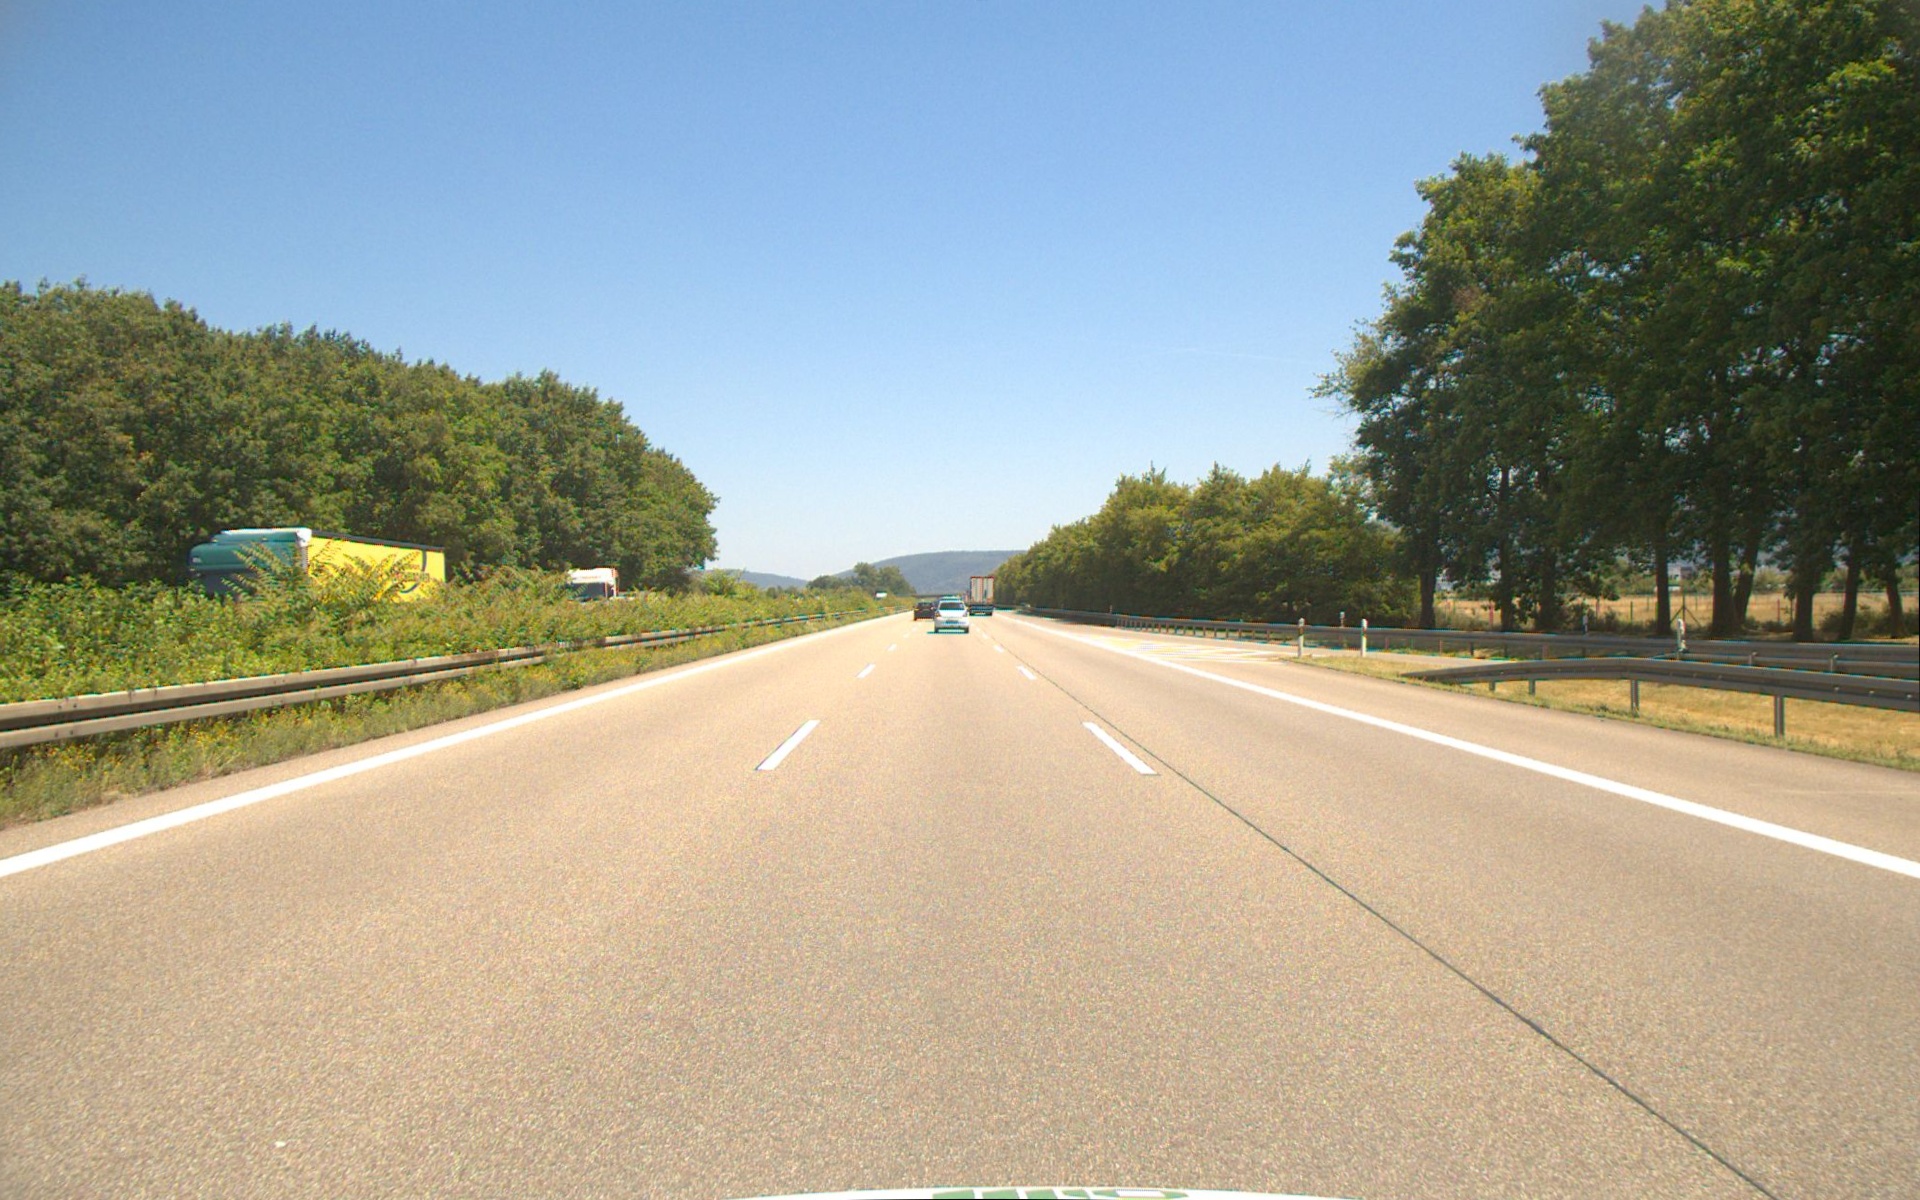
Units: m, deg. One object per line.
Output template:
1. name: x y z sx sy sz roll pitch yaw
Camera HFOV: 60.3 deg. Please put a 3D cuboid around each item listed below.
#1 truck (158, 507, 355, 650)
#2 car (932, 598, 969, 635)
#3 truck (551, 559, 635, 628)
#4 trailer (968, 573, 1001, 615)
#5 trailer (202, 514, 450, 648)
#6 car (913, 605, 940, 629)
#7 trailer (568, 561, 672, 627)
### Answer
1. truck: -20.658 -0.587 49.009 3.133 3.892 6.393 1 0 -1
2. car: -0.477 0.756 79.246 1.697 1.713 3.999 -1 0 -1
3. truck: -20.469 -0.331 92.738 3.132 3.642 6.995 1 0 0
4. trailer: 2.730 -0.568 182.514 3.151 4.421 13.633 1 0 3
5. trailer: -20.790 -0.543 55.617 3.133 3.892 14.019 1 0 -1
6. car: -2.497 1.240 124.715 1.953 1.742 3.999 1 0 -1
7. trailer: -20.533 -0.300 101.224 3.132 3.642 15.966 1 0 0
